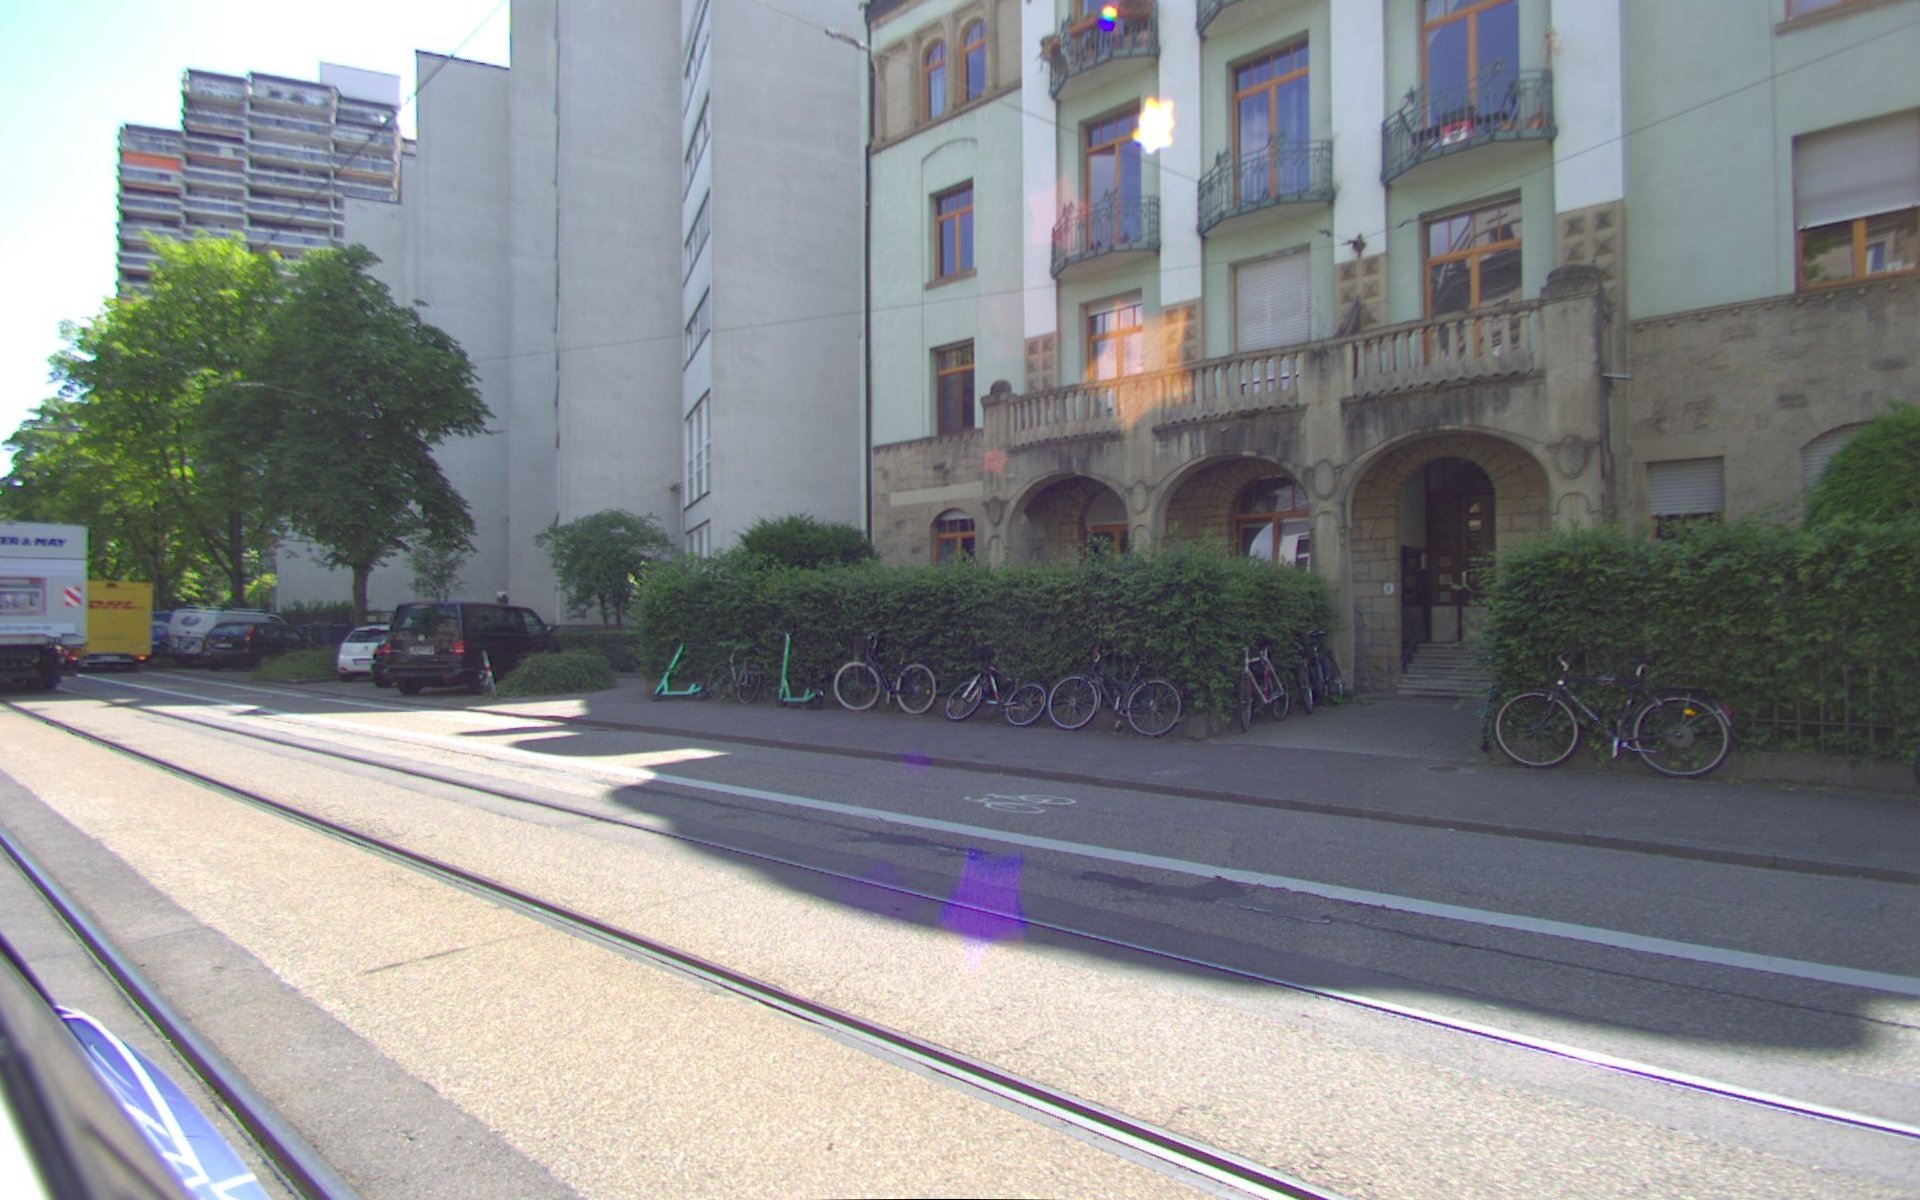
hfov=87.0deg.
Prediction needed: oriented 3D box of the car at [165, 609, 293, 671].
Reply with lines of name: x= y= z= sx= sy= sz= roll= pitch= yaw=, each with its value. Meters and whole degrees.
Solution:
car: x=-25.690 y=1.388 z=35.754 sx=1.580 sy=2.058 sz=4.052 roll=0 pitch=-1 yaw=0

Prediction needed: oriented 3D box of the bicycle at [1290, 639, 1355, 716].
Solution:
bicycle: x=4.674 y=0.976 z=13.025 sx=0.340 sy=0.915 sz=1.192 roll=-2 pitch=-2 yaw=43

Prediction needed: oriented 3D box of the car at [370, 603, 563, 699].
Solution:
car: x=-10.956 y=1.095 z=22.897 sx=1.936 sy=1.940 sz=4.581 roll=0 pitch=-1 yaw=3

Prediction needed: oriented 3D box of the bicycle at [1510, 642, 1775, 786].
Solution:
bicycle: x=5.692 y=0.898 z=8.507 sx=1.770 sy=1.040 sz=0.601 roll=-2 pitch=2 yaw=41

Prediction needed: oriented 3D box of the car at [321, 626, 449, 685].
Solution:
car: x=-15.561 y=1.453 z=27.605 sx=1.700 sy=1.465 sz=3.631 roll=0 pitch=-1 yaw=-5

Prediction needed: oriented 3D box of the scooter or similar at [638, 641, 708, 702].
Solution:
scooter or similar: x=-5.021 y=1.238 z=17.676 sx=1.217 sy=1.028 sz=0.403 roll=-1 pitch=-2 yaw=26

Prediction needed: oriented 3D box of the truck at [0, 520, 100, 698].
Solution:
truck: x=-22.703 y=0.257 z=23.522 sx=8.248 sy=3.647 sz=2.757 roll=-1 pitch=-2 yaw=40

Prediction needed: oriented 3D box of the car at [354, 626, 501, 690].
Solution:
car: x=-13.232 y=1.398 z=25.431 sx=1.659 sy=1.465 sz=3.945 roll=0 pitch=-1 yaw=0

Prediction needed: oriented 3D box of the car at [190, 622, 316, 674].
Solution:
car: x=-23.190 y=1.538 z=33.354 sx=1.658 sy=1.587 sz=3.686 roll=0 pitch=-1 yaw=-2

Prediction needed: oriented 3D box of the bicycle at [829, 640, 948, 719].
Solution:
bicycle: x=-1.033 y=1.096 z=14.321 sx=1.707 sy=0.996 sz=0.601 roll=-2 pitch=2 yaw=41

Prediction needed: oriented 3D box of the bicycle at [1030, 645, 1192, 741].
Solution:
bicycle: x=1.726 y=1.042 z=11.747 sx=1.770 sy=0.983 sz=0.601 roll=-2 pitch=2 yaw=41

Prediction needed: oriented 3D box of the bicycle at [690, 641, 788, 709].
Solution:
bicycle: x=-3.626 y=1.195 z=16.535 sx=1.707 sy=0.996 sz=0.601 roll=-2 pitch=2 yaw=41

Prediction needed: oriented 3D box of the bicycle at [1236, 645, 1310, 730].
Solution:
bicycle: x=3.671 y=1.001 z=11.823 sx=0.340 sy=0.915 sz=1.192 roll=-2 pitch=-2 yaw=43

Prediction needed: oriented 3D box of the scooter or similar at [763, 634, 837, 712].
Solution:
scooter or similar: x=-2.452 y=1.095 z=15.467 sx=1.291 sy=1.128 sz=0.401 roll=-2 pitch=-1 yaw=43

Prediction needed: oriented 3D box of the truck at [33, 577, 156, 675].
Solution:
truck: x=-28.682 y=0.846 z=33.451 sx=6.514 sy=2.943 sz=2.276 roll=-2 pitch=-2 yaw=42

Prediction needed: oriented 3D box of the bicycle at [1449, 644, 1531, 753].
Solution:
bicycle: x=5.467 y=0.974 z=10.407 sx=0.391 sy=0.935 sz=1.556 roll=-2 pitch=1 yaw=40

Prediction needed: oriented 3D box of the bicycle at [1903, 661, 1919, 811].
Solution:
bicycle: x=6.986 y=0.907 z=6.143 sx=0.599 sy=1.007 sz=1.779 roll=0 pitch=-1 yaw=-14

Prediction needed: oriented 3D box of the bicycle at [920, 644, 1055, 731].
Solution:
bicycle: x=0.332 y=1.091 z=12.996 sx=1.707 sy=0.996 sz=0.601 roll=-2 pitch=2 yaw=41
